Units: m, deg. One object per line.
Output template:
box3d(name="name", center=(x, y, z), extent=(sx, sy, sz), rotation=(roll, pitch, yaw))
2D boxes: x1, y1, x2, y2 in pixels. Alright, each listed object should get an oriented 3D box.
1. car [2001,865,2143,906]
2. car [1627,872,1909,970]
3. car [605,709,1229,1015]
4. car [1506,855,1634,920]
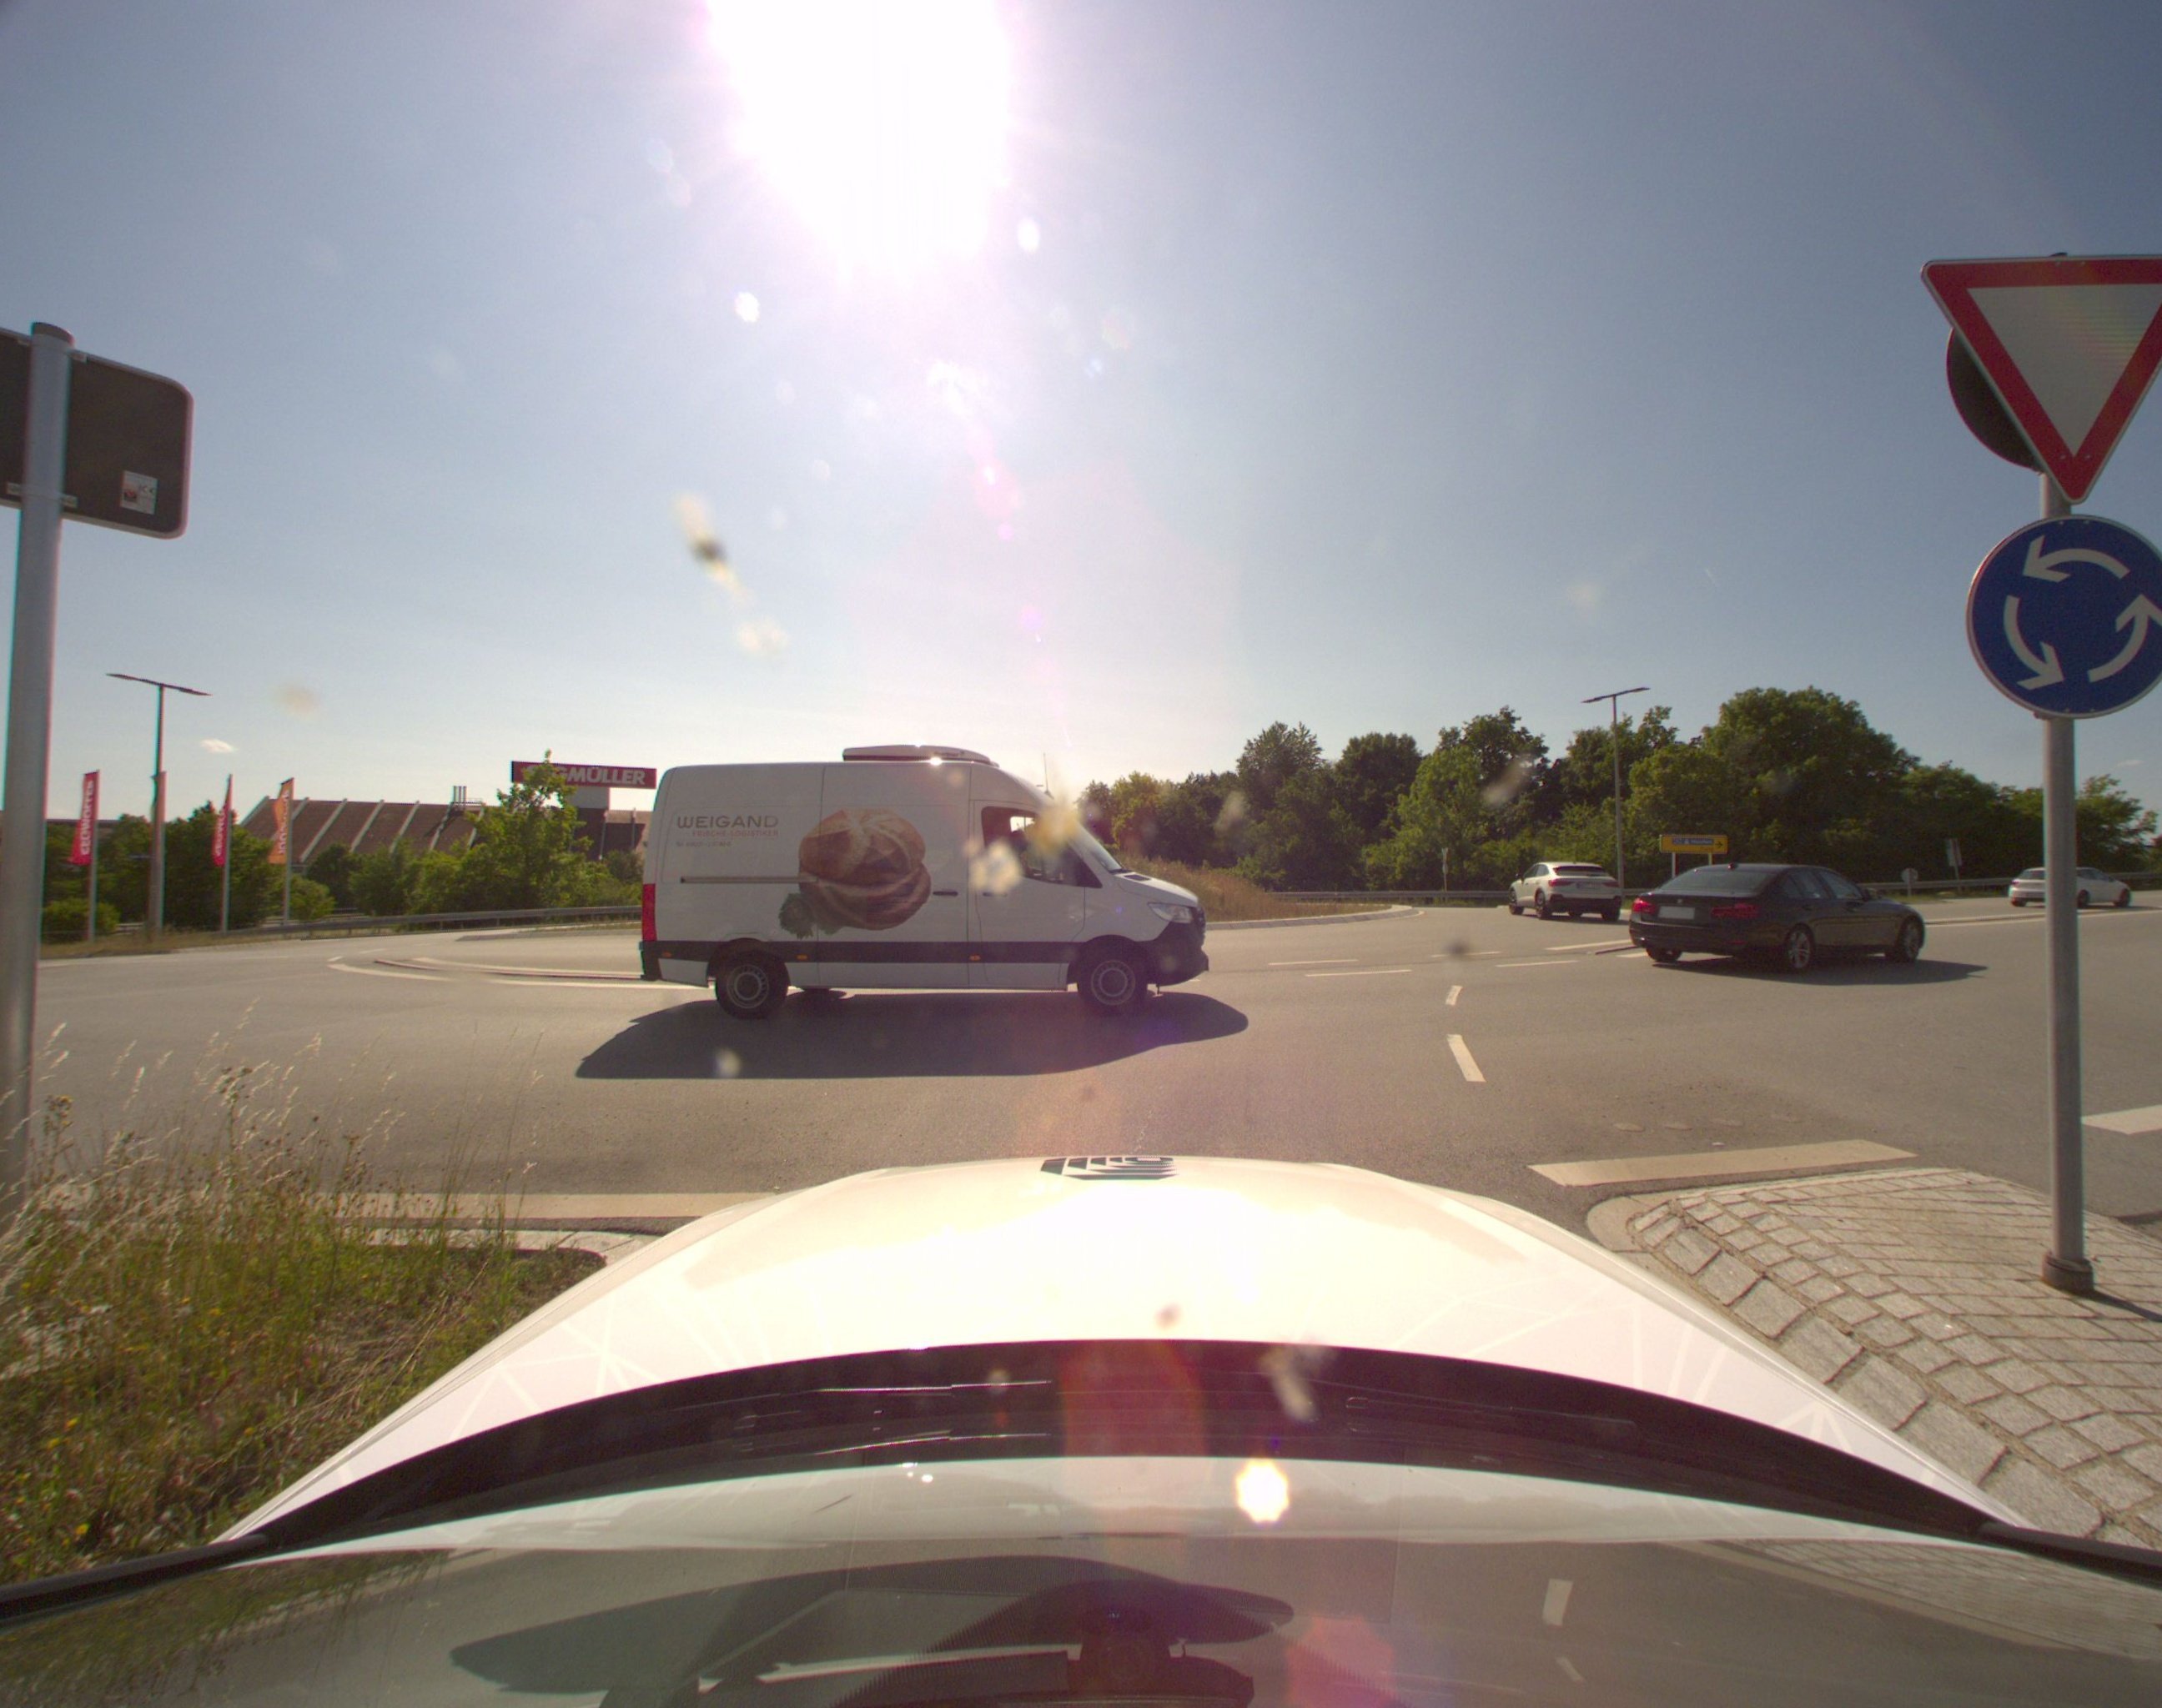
box3d(name="car", center=(35.423, 1.086, 29.107), extent=(4.415, 1.405, 1.780), rotation=(0, -1, -19))
box3d(name="car", center=(9.736, 0.851, 11.513), extent=(3.873, 1.182, 1.662), rotation=(0, -1, -27))
box3d(name="car", center=(-1.574, 0.097, 8.946), extent=(6.093, 2.921, 2.086), rotation=(0, -1, 3))
box3d(name="car", center=(13.226, 0.866, 22.326), extent=(1.828, 1.596, 4.342), rotation=(-1, -1, 15))
